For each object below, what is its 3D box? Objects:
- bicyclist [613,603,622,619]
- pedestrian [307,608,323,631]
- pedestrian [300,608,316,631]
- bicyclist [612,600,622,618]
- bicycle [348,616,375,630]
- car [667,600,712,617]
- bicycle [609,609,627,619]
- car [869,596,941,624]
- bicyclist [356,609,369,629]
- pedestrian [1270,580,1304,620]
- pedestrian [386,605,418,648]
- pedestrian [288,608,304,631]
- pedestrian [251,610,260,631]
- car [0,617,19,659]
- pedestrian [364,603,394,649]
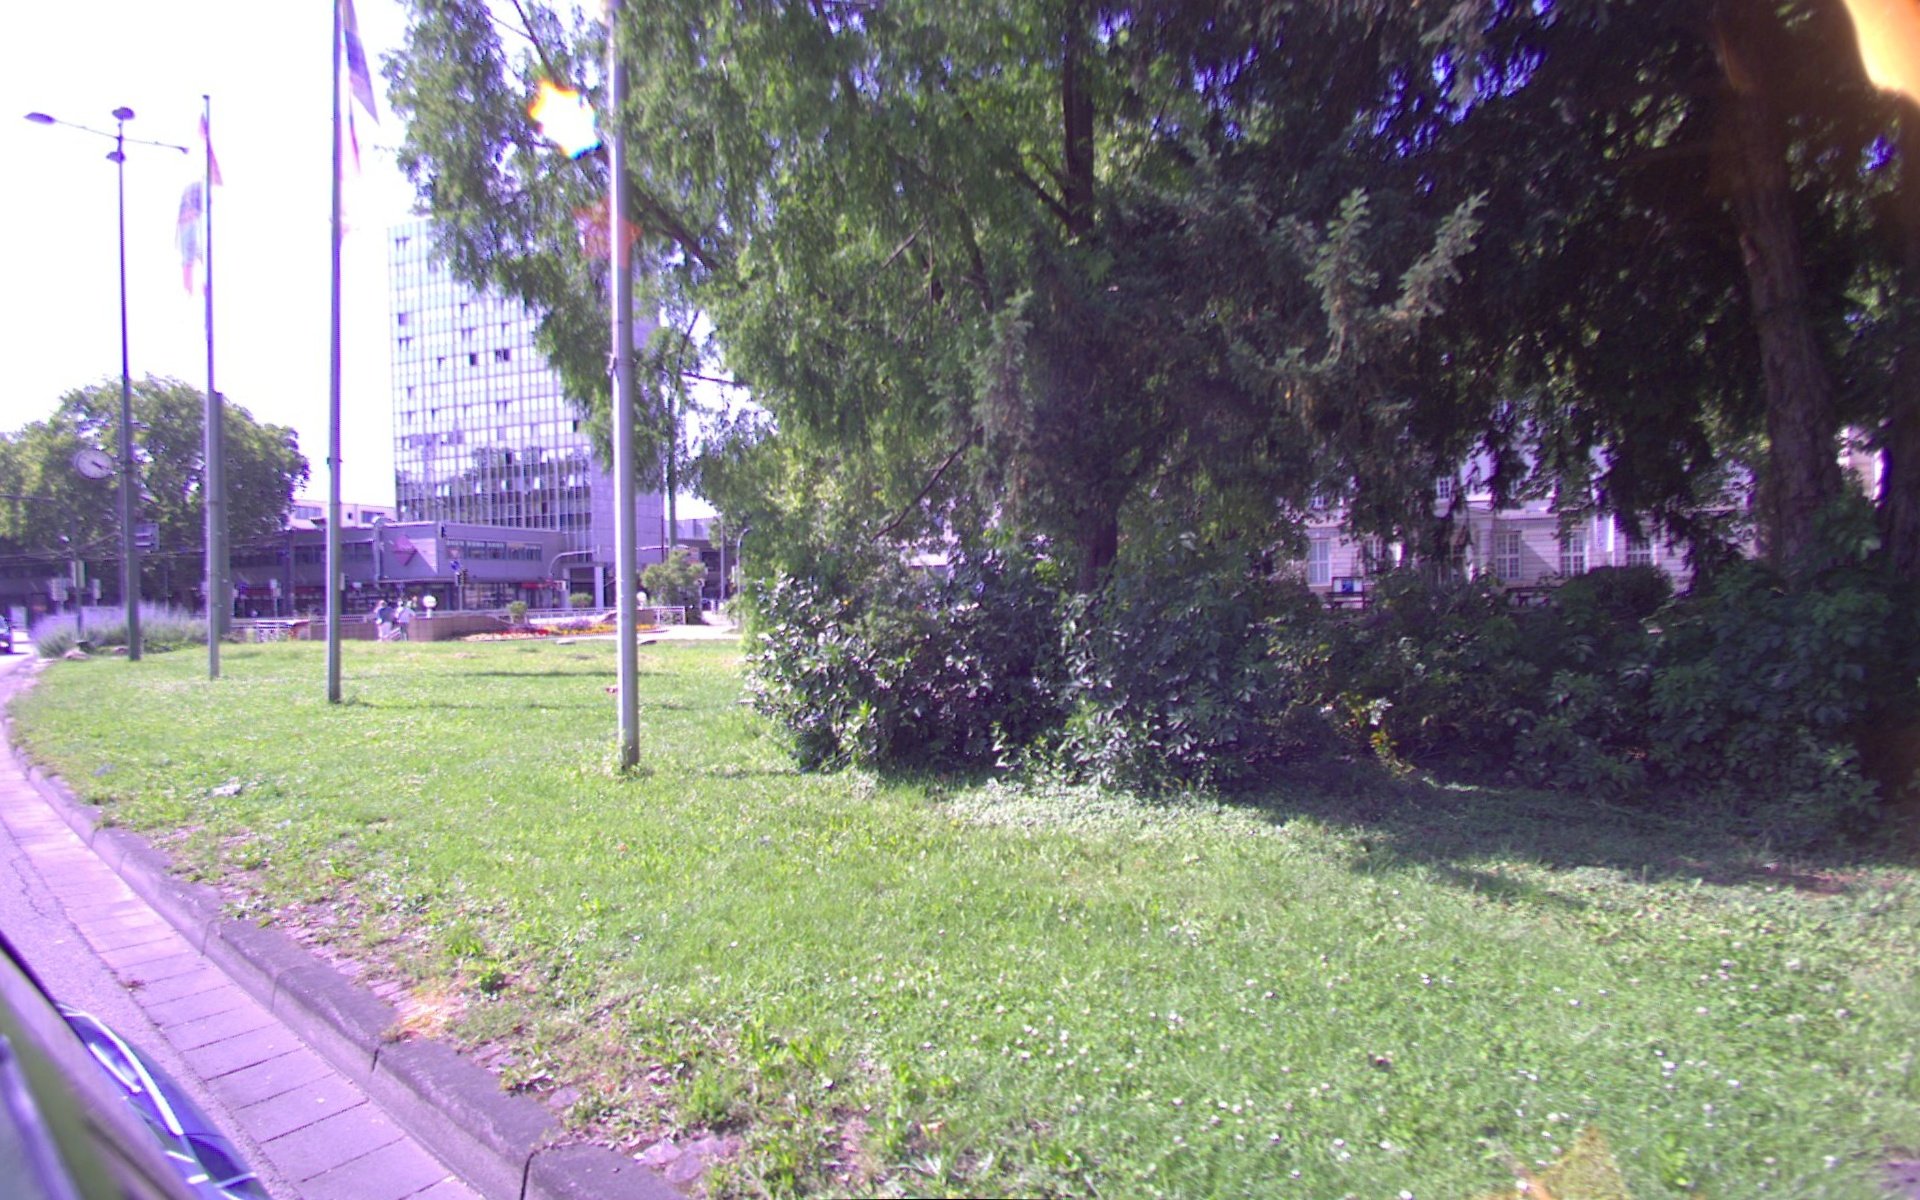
[{"bbox_3d":[-34.704,1.103,102.568,0.580,1.538,0.677,0,1,30],"label":"bicyclist"},{"bbox_3d":[-51.857,1.558,81.392,0.666,1.850,0.818,-1,0,19],"label":"pedestrian"},{"bbox_3d":[-52.584,1.547,81.636,0.729,1.850,0.818,-1,0,19],"label":"pedestrian"},{"bbox_3d":[-35.457,0.943,104.673,0.696,1.781,0.676,0,1,36],"label":"bicyclist"},{"bbox_3d":[-50.195,1.890,84.853,0.573,1.110,1.954,-2,0,22],"label":"bicycle"},{"bbox_3d":[-26.259,0.846,98.456,1.877,1.545,4.034,-1,0,32],"label":"car"},{"bbox_3d":[-34.694,1.430,102.587,0.590,0.889,1.792,0,1,30],"label":"bicycle"},{"bbox_3d":[-2.946,0.549,54.384,3.557,1.356,1.601,-2,0,20],"label":"car"},{"bbox_3d":[-50.174,1.584,84.938,0.580,1.700,0.679,-2,0,23],"label":"bicyclist"},{"bbox_3d":[10.346,0.000,32.061,0.743,1.235,0.672,-2,0,-30],"label":"pedestrian"},{"bbox_3d":[-20.098,0.944,36.468,0.473,1.521,0.842,-1,0,31],"label":"pedestrian"},{"bbox_3d":[-54.667,1.603,83.317,0.666,1.820,0.818,-1,0,21],"label":"pedestrian"},{"bbox_3d":[-56.526,1.655,81.197,0.557,1.650,0.601,0,0,-40],"label":"pedestrian"},{"bbox_3d":[-36.531,1.414,37.883,1.766,1.504,4.091,0,-1,-45],"label":"car"},{"bbox_3d":[-20.593,0.912,35.890,0.598,1.605,0.685,-1,0,32],"label":"pedestrian"}]
